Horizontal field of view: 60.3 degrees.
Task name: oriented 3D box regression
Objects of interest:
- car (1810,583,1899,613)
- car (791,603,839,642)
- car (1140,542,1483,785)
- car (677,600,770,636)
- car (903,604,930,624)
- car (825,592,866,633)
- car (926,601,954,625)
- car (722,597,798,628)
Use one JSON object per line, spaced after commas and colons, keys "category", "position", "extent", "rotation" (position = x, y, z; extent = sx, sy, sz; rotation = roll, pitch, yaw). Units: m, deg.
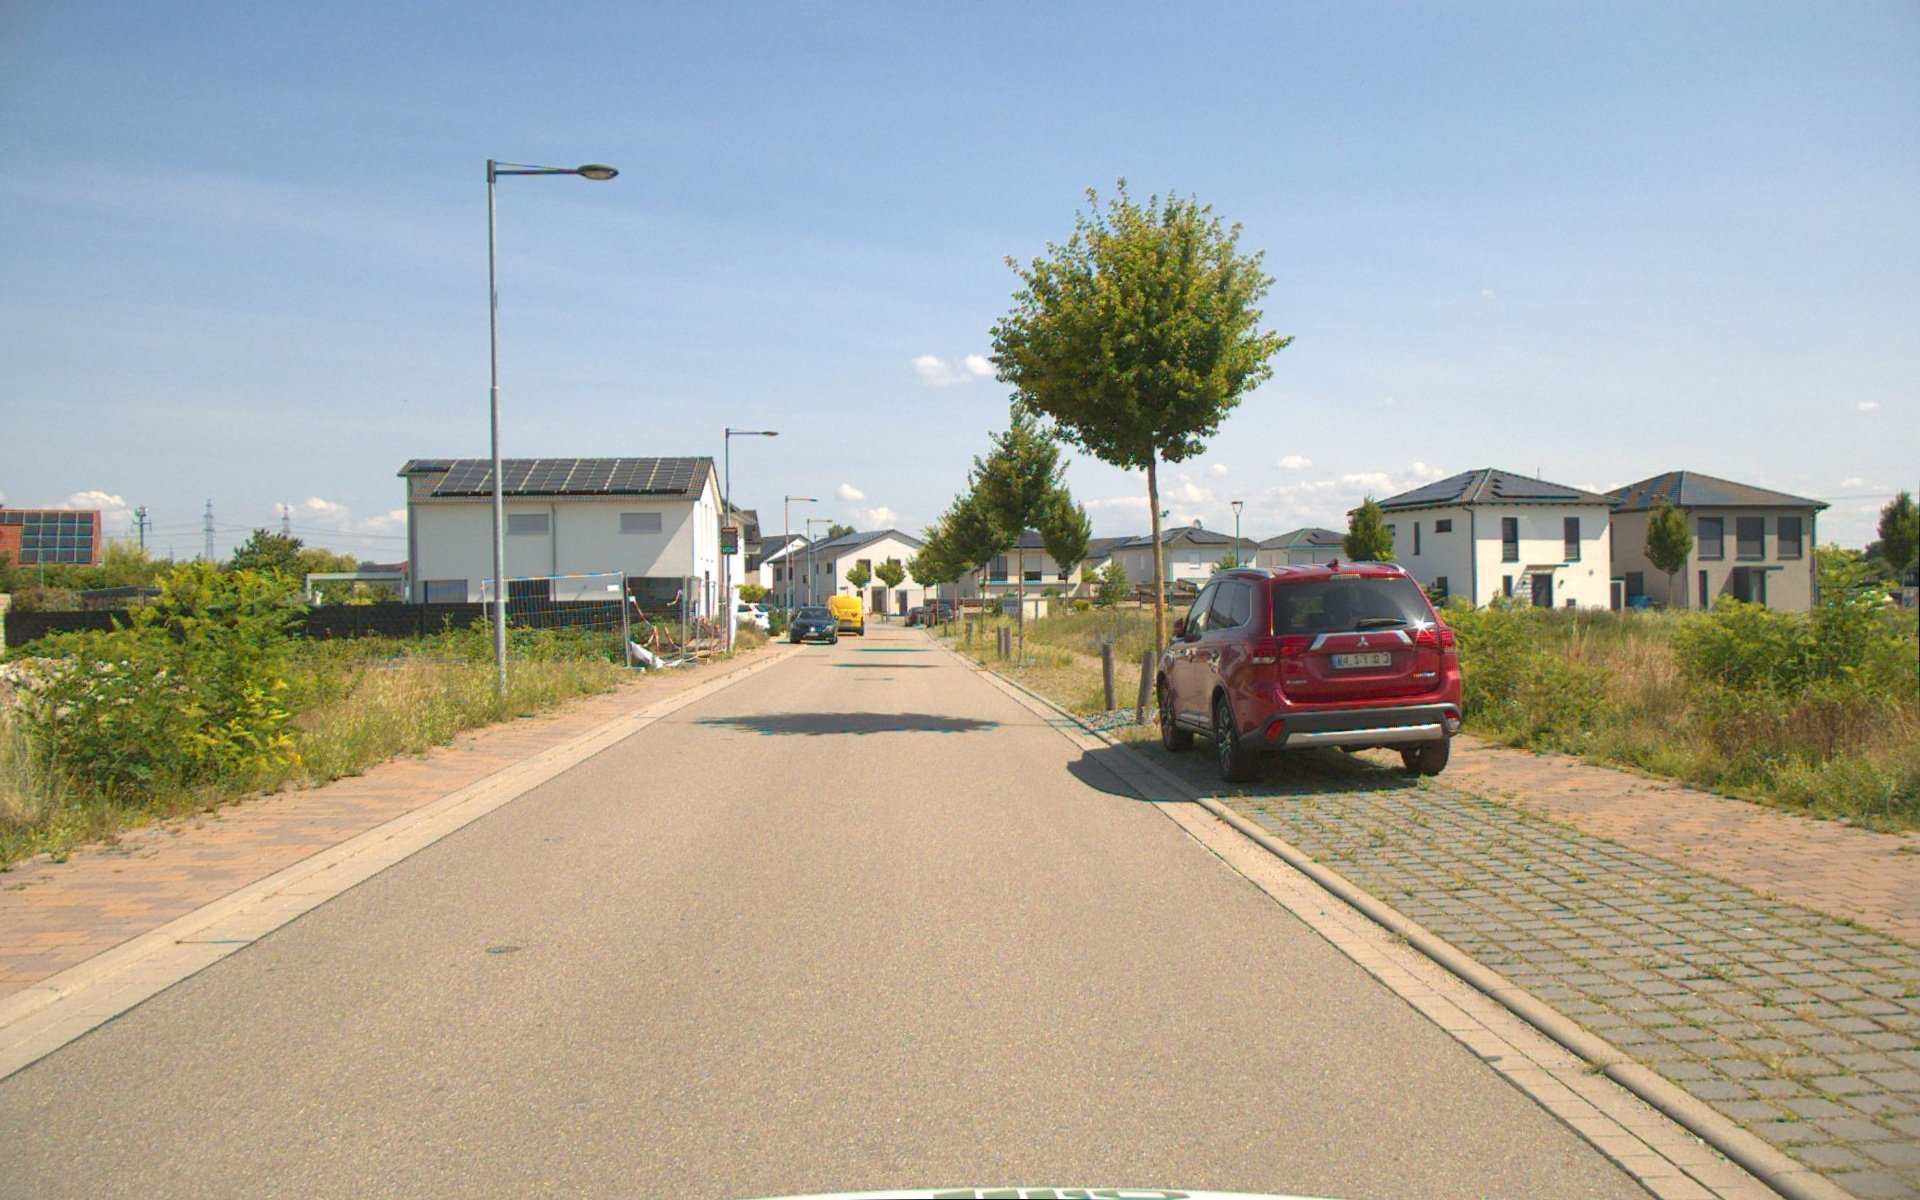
{"category": "car", "position": [45.522, -0.104, 84.206], "extent": [3.923, 1.422, 1.742], "rotation": [-1, -1, -17]}
{"category": "car", "position": [-5.742, 0.876, 65.825], "extent": [1.710, 1.429, 4.157], "rotation": [1, 0, -3]}
{"category": "car", "position": [2.806, 0.444, 14.247], "extent": [1.741, 1.692, 4.431], "rotation": [-2, 0, -3]}
{"category": "car", "position": [-10.858, 0.813, 76.064], "extent": [3.983, 1.609, 1.785], "rotation": [0, 1, 3]}
{"category": "car", "position": [-3.294, 1.059, 124.793], "extent": [1.598, 1.346, 3.825], "rotation": [-1, -2, -9]}
{"category": "car", "position": [-5.982, 0.680, 85.953], "extent": [1.904, 2.016, 4.211], "rotation": [-1, -1, -6]}
{"category": "car", "position": [-1.310, 0.848, 106.265], "extent": [1.606, 1.427, 3.807], "rotation": [-1, -2, -4]}
{"category": "car", "position": [-11.661, 0.739, 96.416], "extent": [4.097, 1.531, 1.806], "rotation": [3, -1, -19]}
